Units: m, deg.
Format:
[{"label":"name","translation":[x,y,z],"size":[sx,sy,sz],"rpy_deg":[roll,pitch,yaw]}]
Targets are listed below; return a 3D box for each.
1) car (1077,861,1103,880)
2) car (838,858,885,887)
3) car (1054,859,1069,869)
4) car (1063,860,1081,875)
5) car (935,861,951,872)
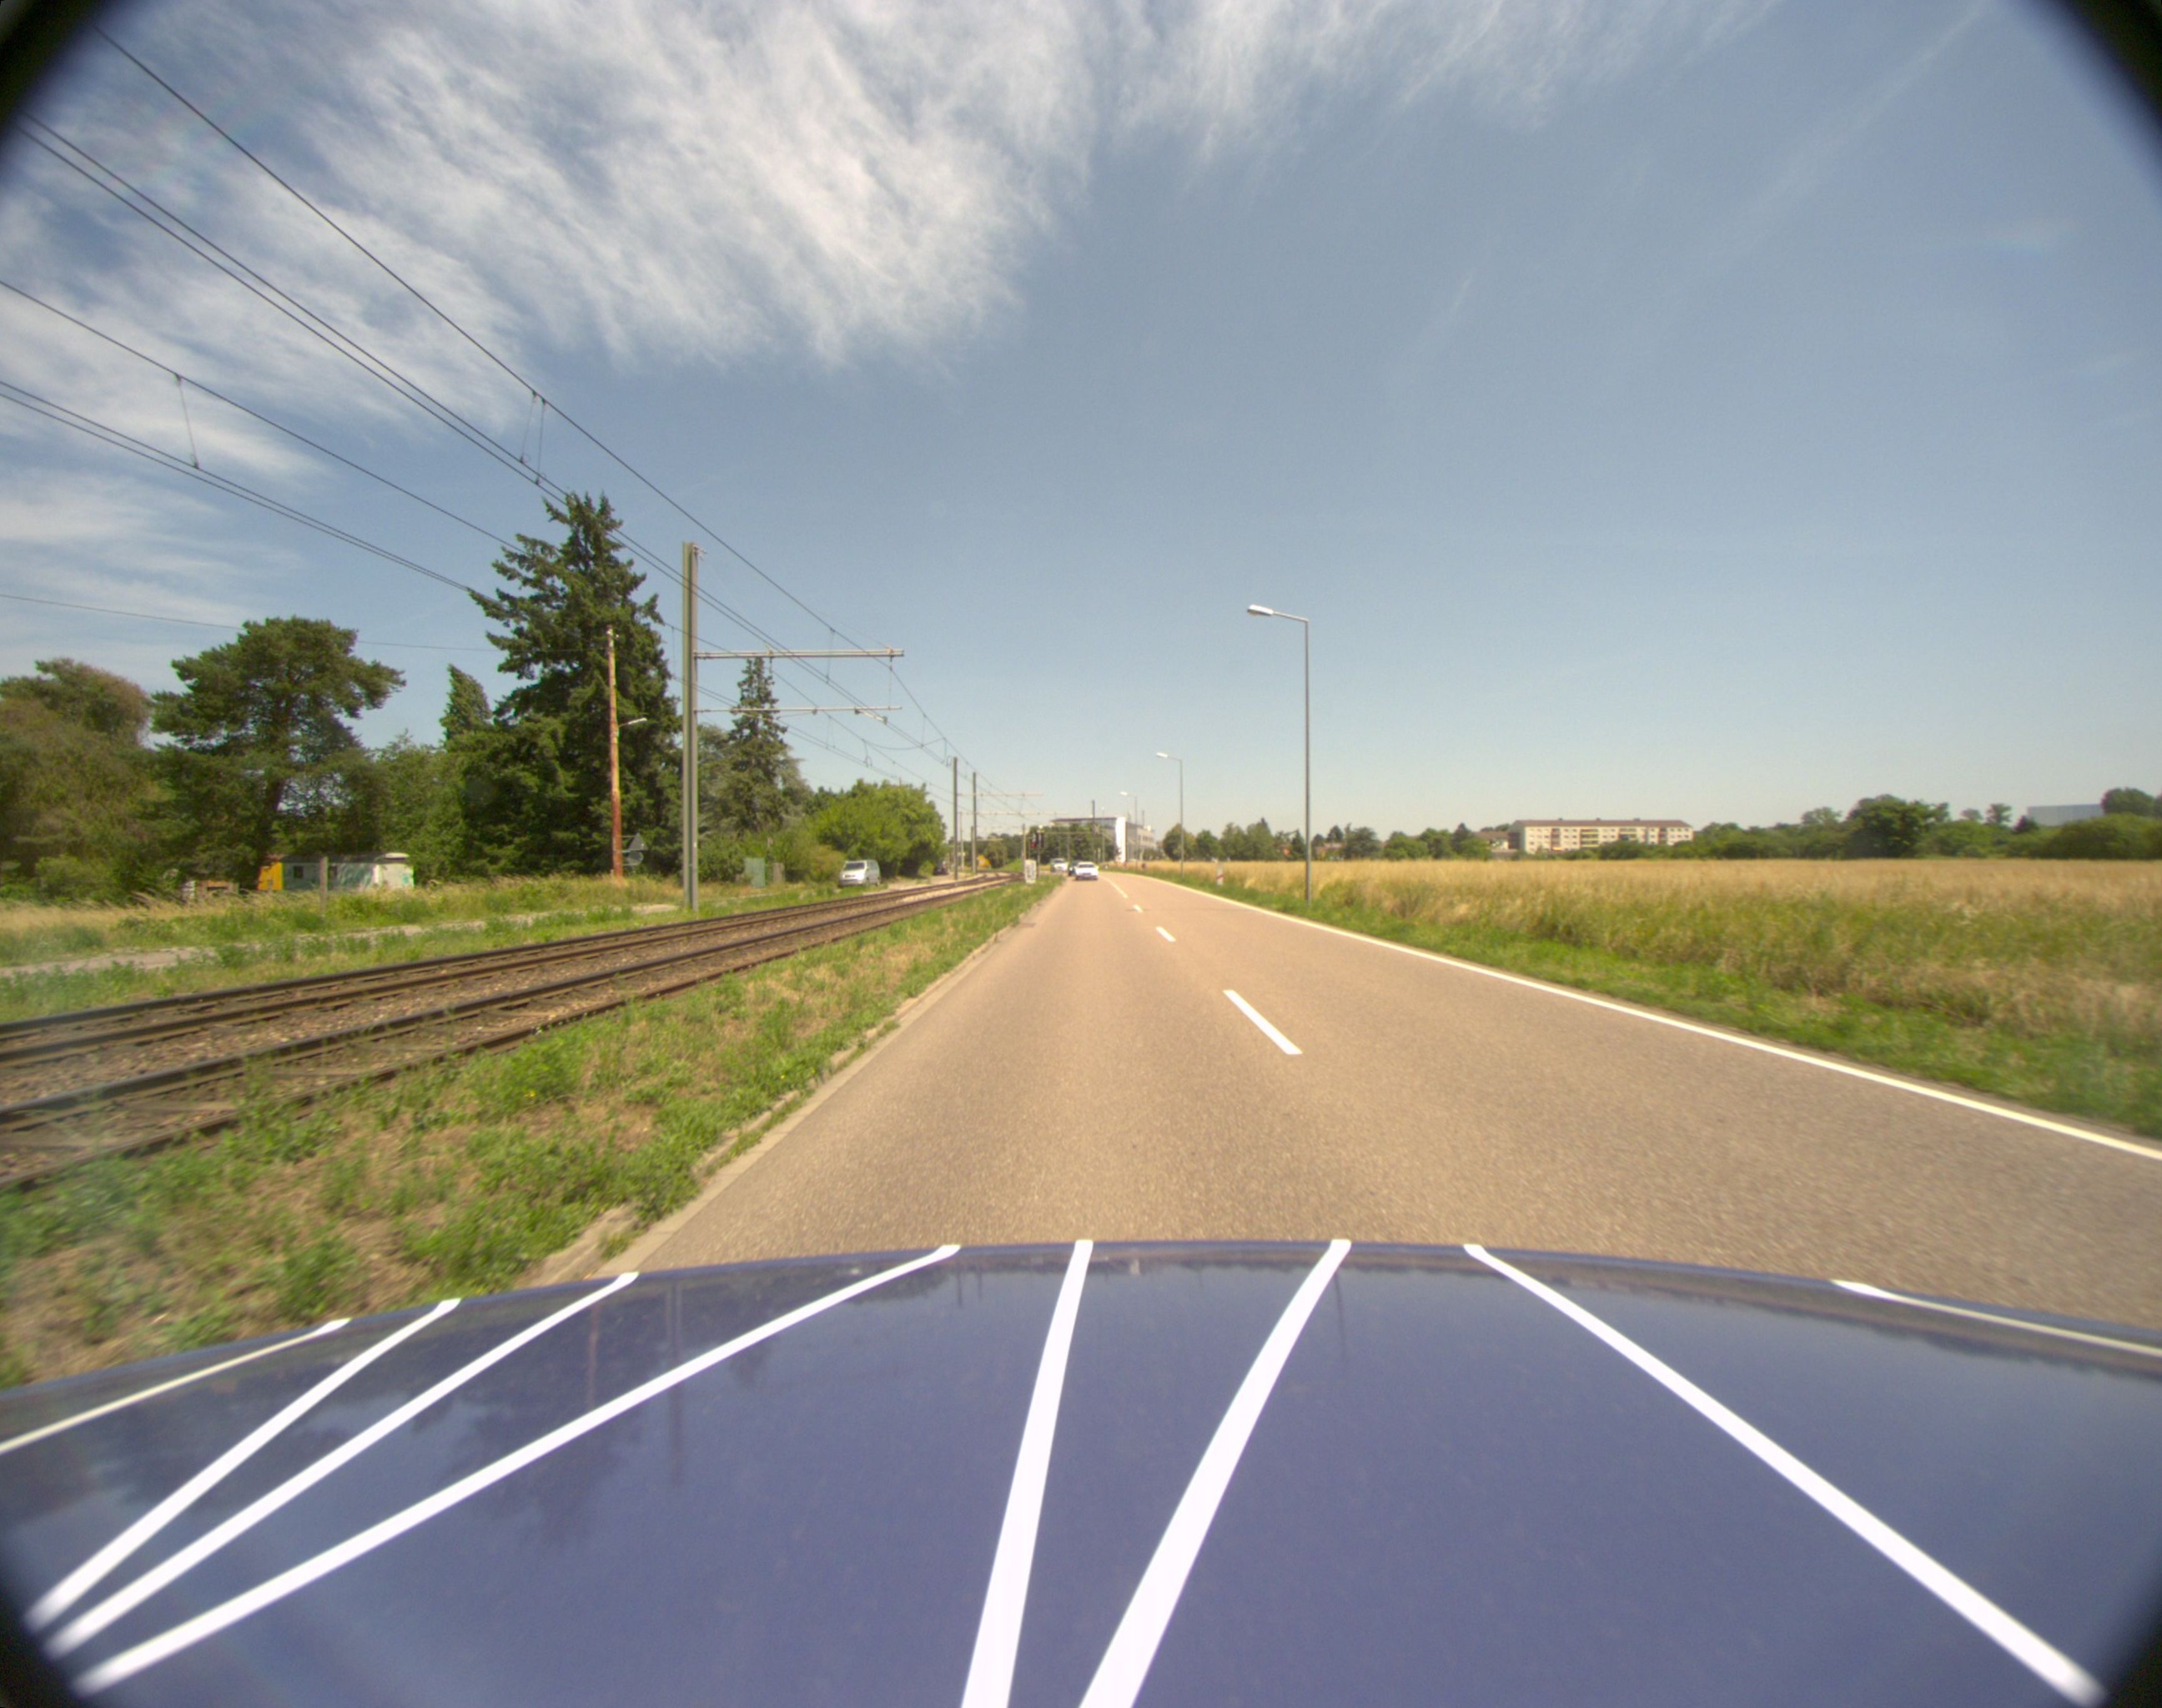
[{"label":"car","translation":[0.795,1.349,62.143],"size":[1.771,1.434,4.130],"rpy_deg":[0,1,5]},{"label":"car","translation":[-15.599,1.288,54.287],"size":[2.042,1.871,5.067],"rpy_deg":[0,1,-2]},{"label":"car","translation":[-2.679,1.352,102.766],"size":[1.633,1.242,3.160],"rpy_deg":[-1,1,-8]},{"label":"car","translation":[-0.902,1.329,77.595],"size":[1.510,1.423,3.356],"rpy_deg":[-1,1,-6]},{"label":"car","translation":[-18.656,1.703,103.000],"size":[1.802,1.418,4.737],"rpy_deg":[-1,0,-7]}]
